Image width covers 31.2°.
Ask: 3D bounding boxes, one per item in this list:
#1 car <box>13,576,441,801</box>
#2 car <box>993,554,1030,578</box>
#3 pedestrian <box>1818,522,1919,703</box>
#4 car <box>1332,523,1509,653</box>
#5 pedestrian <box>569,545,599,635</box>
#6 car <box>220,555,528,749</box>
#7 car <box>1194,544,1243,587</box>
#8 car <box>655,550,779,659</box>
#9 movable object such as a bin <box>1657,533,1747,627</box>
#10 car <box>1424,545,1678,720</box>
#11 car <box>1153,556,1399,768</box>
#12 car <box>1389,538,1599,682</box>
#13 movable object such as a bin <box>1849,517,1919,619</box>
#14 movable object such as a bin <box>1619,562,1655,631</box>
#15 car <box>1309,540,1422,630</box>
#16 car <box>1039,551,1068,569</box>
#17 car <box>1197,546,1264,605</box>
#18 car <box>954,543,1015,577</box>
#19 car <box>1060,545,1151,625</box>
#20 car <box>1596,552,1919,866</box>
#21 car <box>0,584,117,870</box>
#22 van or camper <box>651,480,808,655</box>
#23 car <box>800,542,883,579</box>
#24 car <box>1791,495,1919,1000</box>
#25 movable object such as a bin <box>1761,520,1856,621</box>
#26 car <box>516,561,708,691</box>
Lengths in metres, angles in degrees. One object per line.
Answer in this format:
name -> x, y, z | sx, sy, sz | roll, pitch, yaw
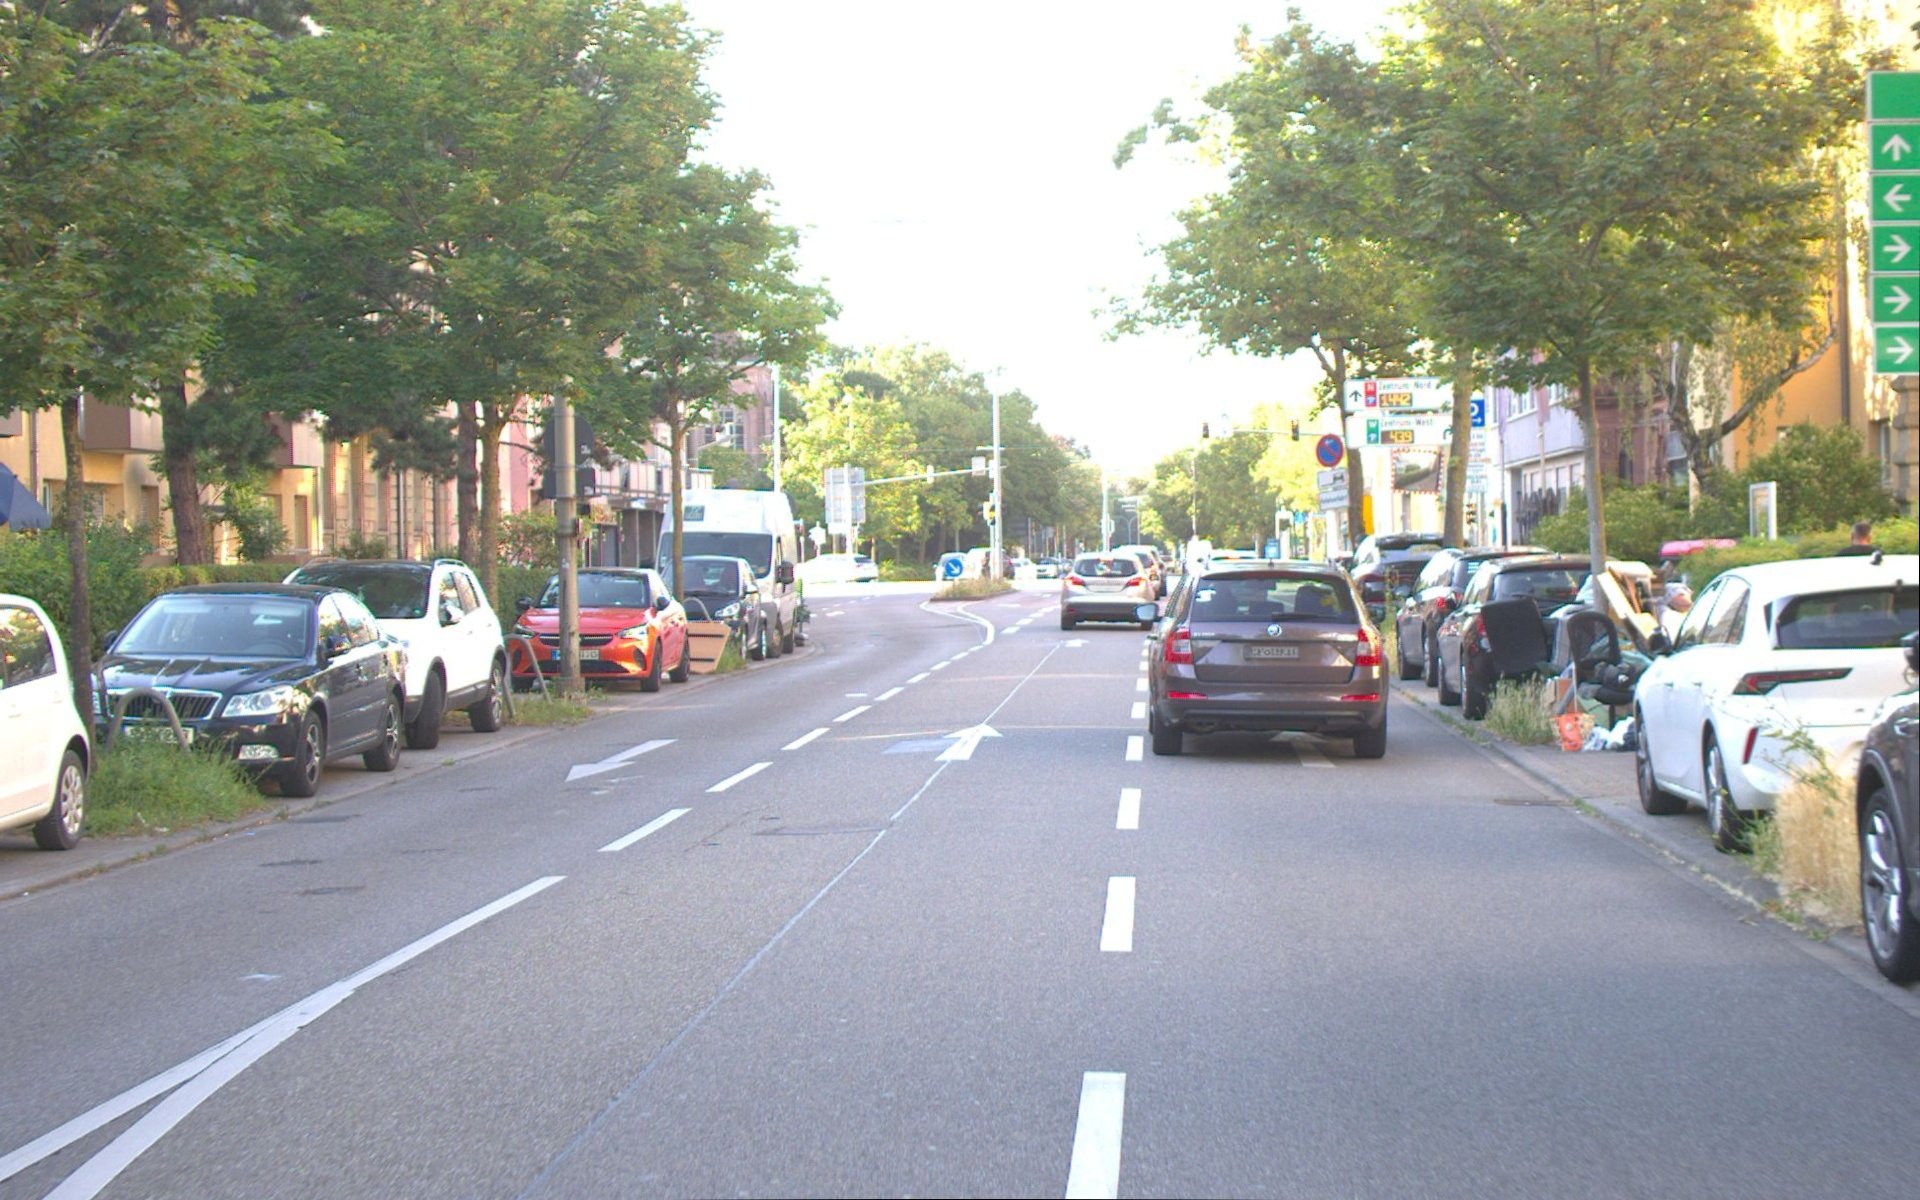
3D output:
car -> -5.299, 0.585, 25.482 | 1.994, 1.443, 4.458 | -1, 1, 3
car -> 2.791, -1.830, 184.968 | 1.780, 1.232, 4.000 | -1, 1, 4
pedestrian -> 8.218, 0.109, 31.092 | 0.746, 1.610, 0.580 | -1, 1, 2
car -> 6.263, -0.196, 47.248 | 1.948, 1.649, 4.796 | -1, 1, 2
pedestrian -> -6.971, -0.185, 63.776 | 0.480, 1.646, 0.725 | -1, 1, -3
car -> -5.102, 0.403, 30.473 | 1.777, 1.583, 4.185 | 0, 1, 3
car -> 8.856, -1.208, 117.943 | 1.585, 1.442, 3.647 | 0, 1, 3
car -> -3.571, 0.045, 50.787 | 1.404, 1.543, 2.761 | 1, 1, 5
movable object such as a bin -> 11.681, -0.318, 54.089 | 1.253, 1.436, 0.994 | -1, 1, 18
car -> 5.398, 0.247, 31.887 | 1.770, 1.444, 4.484 | -2, 1, 3
car -> 2.348, 0.407, 26.209 | 1.708, 1.452, 4.158 | 0, 1, 4
car -> 5.939, 0.071, 38.669 | 1.716, 1.467, 4.432 | -2, 1, 1
movable object such as a bin -> 14.644, -0.508, 53.702 | 1.154, 1.550, 0.995 | -1, 1, -6
movable object such as a bin -> 10.653, -0.058, 54.064 | 0.494, 1.055, 0.547 | -1, 1, 16
car -> 7.443, -0.307, 63.469 | 1.856, 1.507, 4.834 | -2, 1, 5
car -> 6.427, -2.752, 236.289 | 1.780, 1.232, 4.000 | -1, 1, 4
car -> 6.946, -0.651, 88.598 | 1.651, 1.479, 4.239 | 0, 1, 4
car -> 1.079, -1.800, 153.807 | 1.619, 1.489, 3.348 | -1, 1, -20
car -> 2.883, -0.311, 67.362 | 1.708, 1.504, 4.309 | 0, 1, 4
car -> 4.562, 0.482, 18.234 | 1.762, 1.397, 4.333 | -2, 1, 3
car -> -5.788, 0.665, 18.231 | 1.591, 1.487, 3.641 | 0, 0, 3
van or camper -> -3.672, -0.550, 55.742 | 2.035, 2.654, 6.016 | 1, 1, 1
car -> -5.593, -1.847, 162.250 | 1.994, 1.664, 3.999 | -2, 1, -36
car -> 4.090, 0.460, 10.753 | 1.916, 1.676, 4.707 | -3, 1, 2
movable object such as a bin -> 13.314, -0.466, 53.964 | 1.154, 1.550, 0.995 | -1, 1, -6
car -> -4.160, 0.276, 41.625 | 1.717, 1.447, 3.923 | 0, 1, 3
